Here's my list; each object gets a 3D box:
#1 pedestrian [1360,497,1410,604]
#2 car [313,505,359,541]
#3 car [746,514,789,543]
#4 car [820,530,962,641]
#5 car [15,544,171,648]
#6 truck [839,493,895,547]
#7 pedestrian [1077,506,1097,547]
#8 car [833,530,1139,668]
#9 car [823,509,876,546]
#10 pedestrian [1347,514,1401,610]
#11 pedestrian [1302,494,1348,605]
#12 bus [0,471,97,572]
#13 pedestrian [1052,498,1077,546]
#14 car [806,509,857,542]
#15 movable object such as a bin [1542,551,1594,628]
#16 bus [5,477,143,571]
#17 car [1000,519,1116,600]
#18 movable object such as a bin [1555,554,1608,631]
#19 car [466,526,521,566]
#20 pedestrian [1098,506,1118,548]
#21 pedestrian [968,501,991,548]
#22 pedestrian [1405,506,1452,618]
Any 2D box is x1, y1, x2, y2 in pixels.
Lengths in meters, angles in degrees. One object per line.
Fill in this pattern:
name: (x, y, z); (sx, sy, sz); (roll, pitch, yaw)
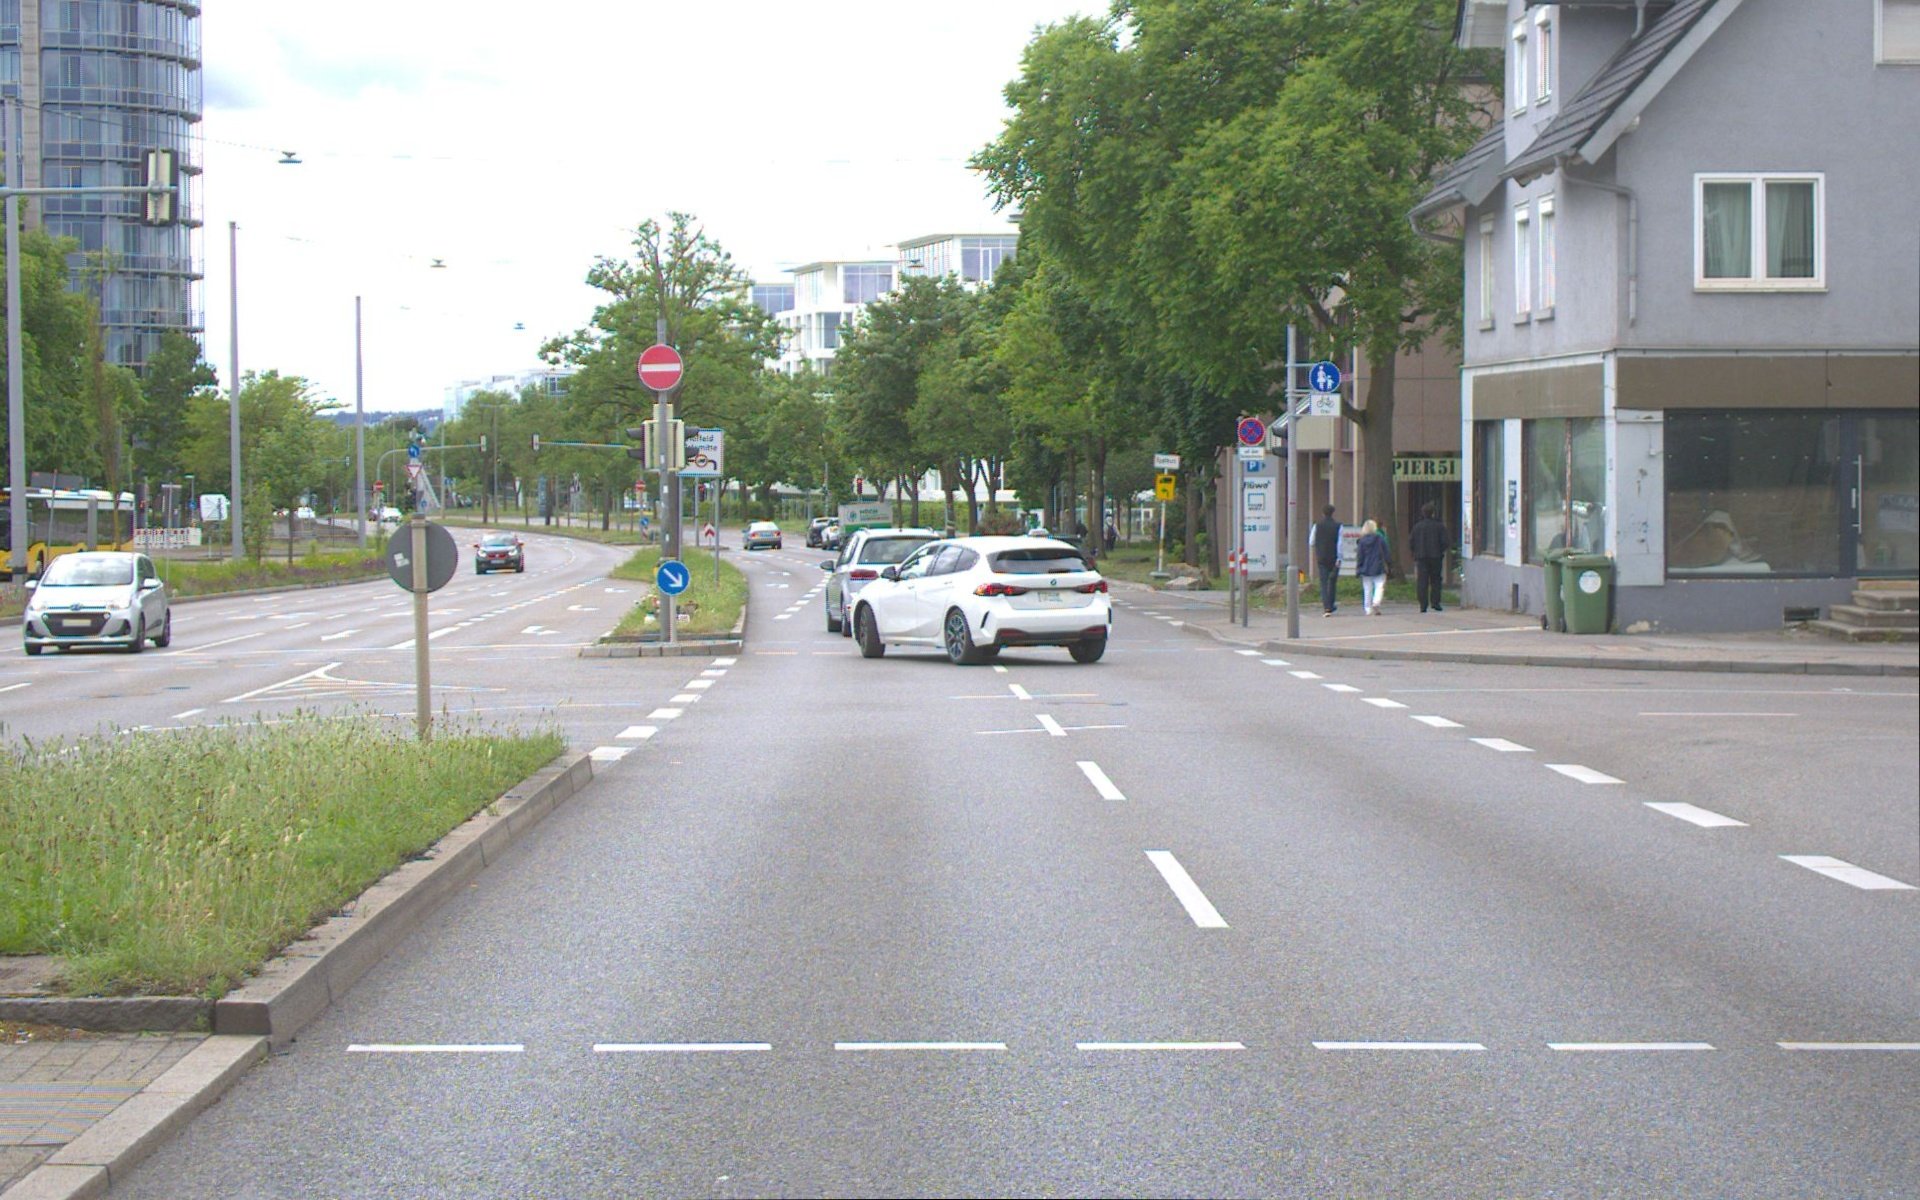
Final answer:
pedestrian: (7.136, -0.825, 57.671); (0.706, 1.773, 0.869); (0, 1, 15)
car: (-36.340, -4.467, 200.268); (1.965, 2.007, 4.000); (1, 1, -1)
car: (-9.696, -3.600, 173.159); (1.967, 1.415, 4.023); (-1, 1, -5)
car: (-1.070, -0.252, 51.208); (1.822, 1.535, 4.115); (1, 1, -5)
car: (-12.804, -0.090, 50.932); (1.684, 1.457, 3.556); (-1, 1, -5)
truck: (-4.269, -3.648, 156.476); (2.251, 2.408, 4.934); (0, 1, -5)
pedestrian: (4.798, -2.768, 129.717); (0.650, 1.564, 0.671); (-1, 1, -8)
car: (0.241, -0.057, 40.728); (1.993, 1.472, 4.257); (-1, 2, -25)
car: (-5.315, -3.481, 165.073); (2.251, 1.751, 4.934); (-1, 1, -5)
pedestrian: (6.597, -0.610, 54.765); (0.706, 1.502, 0.869); (0, 1, 17)
pedestrian: (5.898, -0.821, 55.549); (0.705, 1.773, 0.870); (-1, 1, 5)
bus: (-31.399, -2.570, 114.471); (3.144, 3.214, 10.286); (-1, 1, -3)
pedestrian: (4.405, -3.280, 144.971); (0.971, 2.007, 0.981); (1, 0, -1)
car: (-6.511, -3.745, 173.867); (2.250, 1.641, 4.934); (-1, 1, -5)
movable object such as a bin: (7.932, -0.141, 44.847); (0.529, 0.976, 0.736); (-1, 1, -1)
bus: (-31.738, -2.711, 123.475); (3.144, 3.214, 7.766); (-1, 1, -2)
car: (1.896, -0.786, 67.654); (1.889, 1.489, 4.099); (-1, 0, -3)
movable object such as a bin: (7.960, -0.103, 44.057); (0.529, 0.976, 0.736); (-1, 1, -1)
car: (-17.670, -2.050, 130.328); (1.702, 1.487, 3.562); (-1, 1, -1)
pedestrian: (5.590, -2.763, 129.806); (0.650, 1.564, 0.671); (-1, 1, -8)
pedestrian: (0.981, -3.800, 173.114); (0.930, 2.300, 1.011); (1, 0, -10)
pedestrian: (7.435, -0.610, 54.551); (0.705, 1.754, 1.052); (0, 1, 7)
